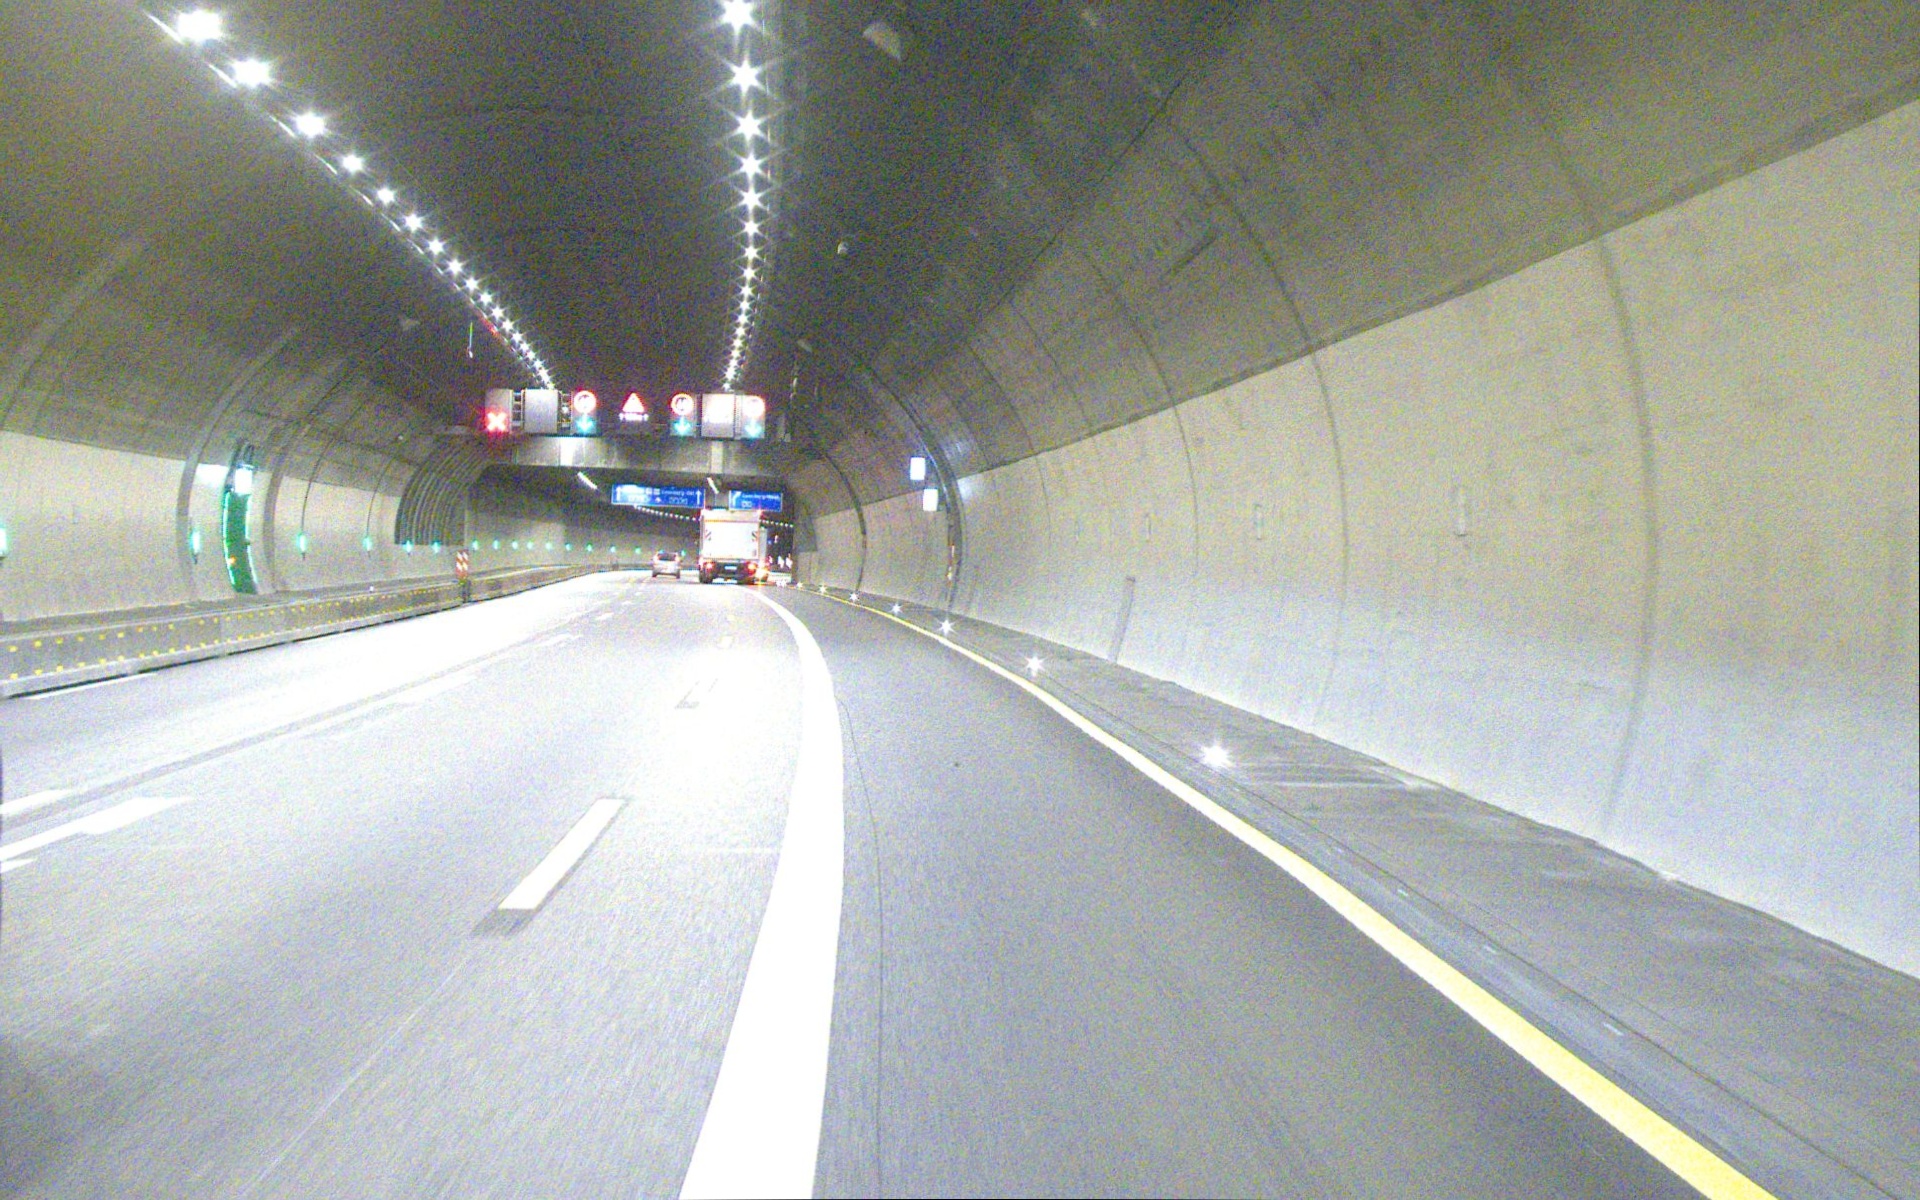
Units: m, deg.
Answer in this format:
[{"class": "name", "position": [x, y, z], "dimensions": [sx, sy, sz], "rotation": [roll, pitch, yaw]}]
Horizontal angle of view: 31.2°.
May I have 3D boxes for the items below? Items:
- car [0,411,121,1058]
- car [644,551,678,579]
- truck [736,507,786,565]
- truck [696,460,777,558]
[{"class": "car", "position": [-3.768, 0.397, 8.601], "dimensions": [1.993, 1.888, 5.454], "rotation": [2, 1, 0]}, {"class": "car", "position": [-18.191, -2.140, 209.333], "dimensions": [1.993, 1.576, 4.001], "rotation": [2, 1, -5]}, {"class": "truck", "position": [-15.098, -4.832, 259.803], "dimensions": [3.473, 4.301, 10.954], "rotation": [0, 1, -5]}, {"class": "truck", "position": [-10.508, -4.243, 160.652], "dimensions": [3.473, 4.301, 10.954], "rotation": [2, 1, -5]}]
